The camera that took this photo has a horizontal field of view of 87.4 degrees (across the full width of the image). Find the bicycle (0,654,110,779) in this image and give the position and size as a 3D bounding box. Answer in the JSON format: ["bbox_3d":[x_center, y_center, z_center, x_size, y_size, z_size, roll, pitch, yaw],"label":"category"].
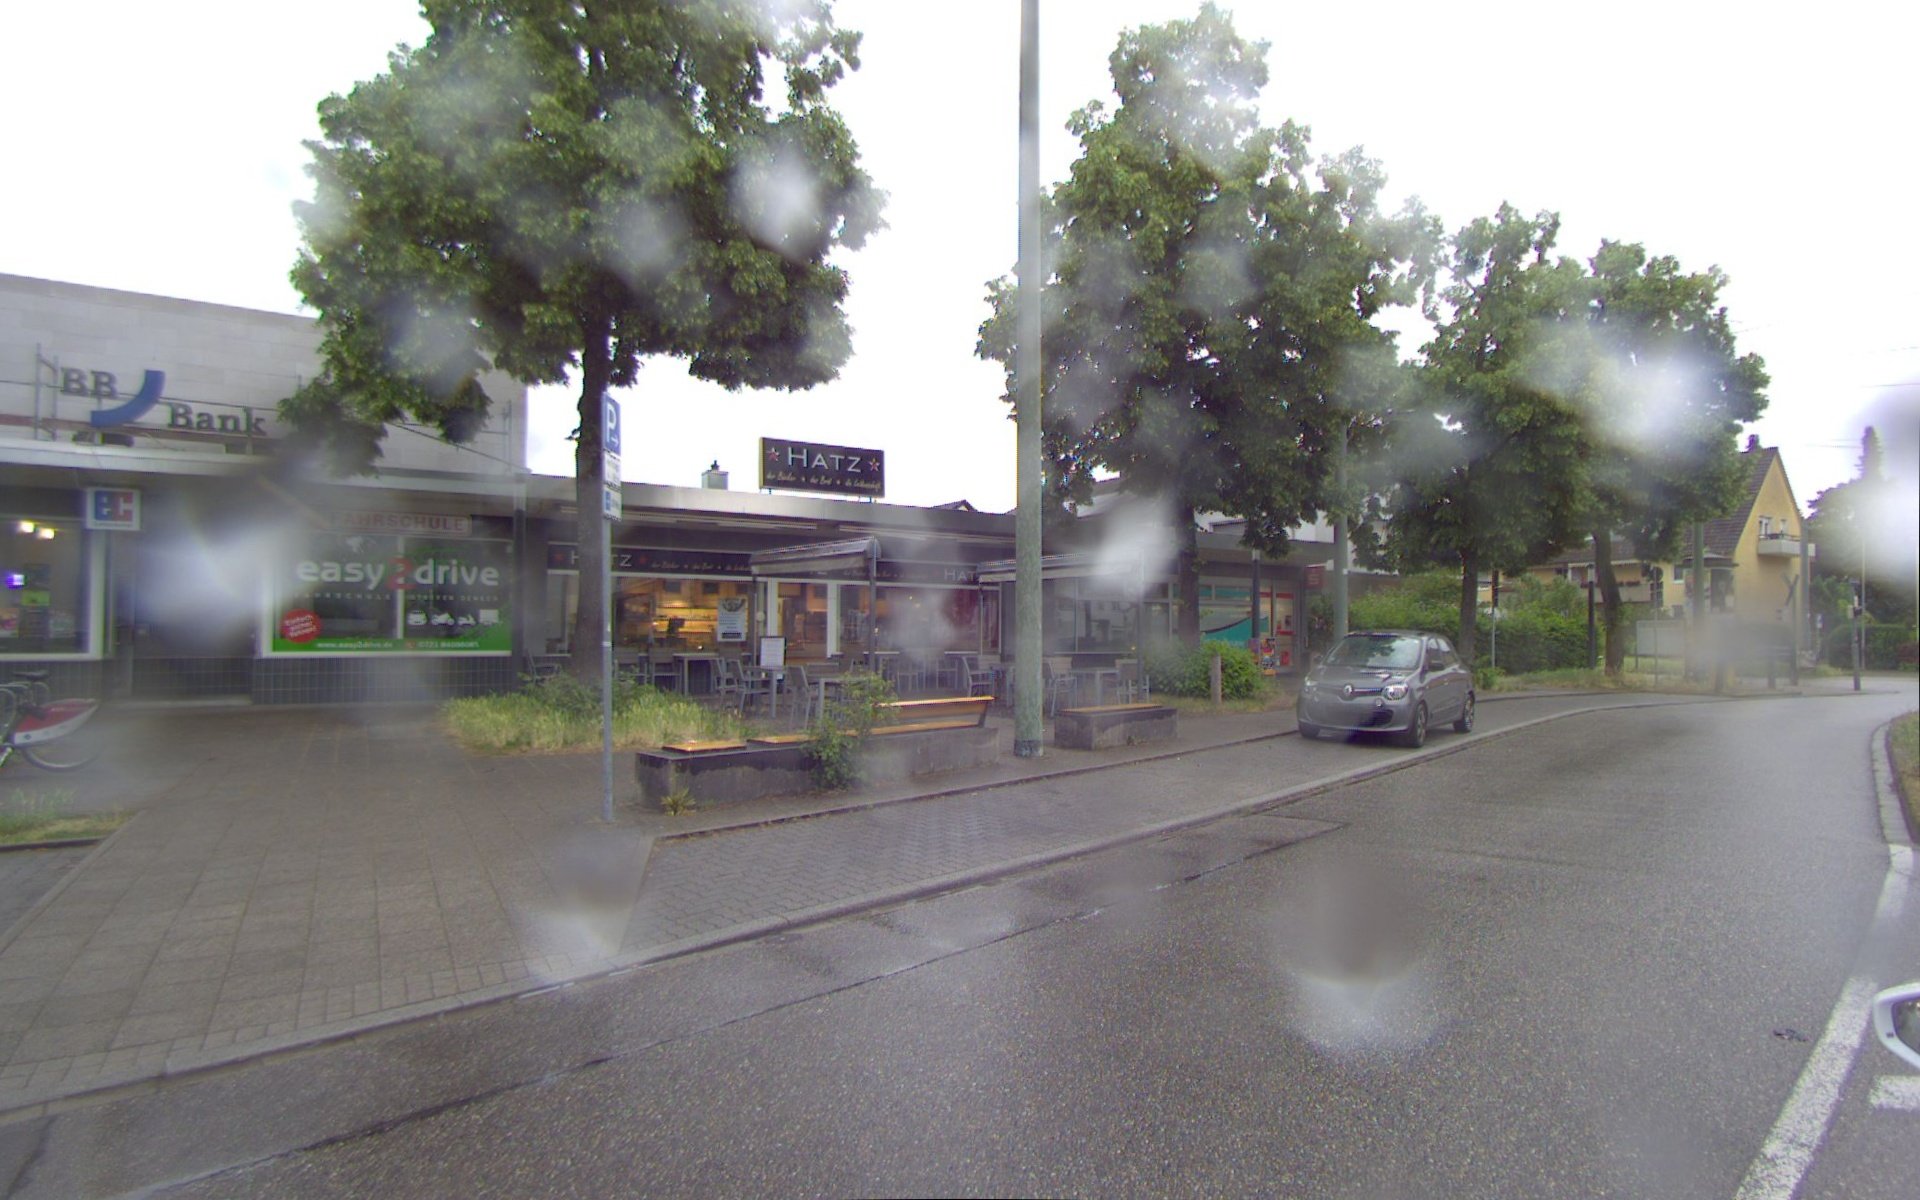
[{"bbox_3d":[-9.000,1.081,9.258,0.314,1.122,1.739,2,0,43],"label":"bicycle"}]

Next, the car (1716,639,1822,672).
[{"bbox_3d":[41.965,2.859,52.188,1.815,1.476,3.960,2,0,-35],"label":"car"}]

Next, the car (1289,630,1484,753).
[{"bbox_3d":[6.381,1.242,14.830,1.598,1.516,3.649,2,0,40],"label":"car"}]
